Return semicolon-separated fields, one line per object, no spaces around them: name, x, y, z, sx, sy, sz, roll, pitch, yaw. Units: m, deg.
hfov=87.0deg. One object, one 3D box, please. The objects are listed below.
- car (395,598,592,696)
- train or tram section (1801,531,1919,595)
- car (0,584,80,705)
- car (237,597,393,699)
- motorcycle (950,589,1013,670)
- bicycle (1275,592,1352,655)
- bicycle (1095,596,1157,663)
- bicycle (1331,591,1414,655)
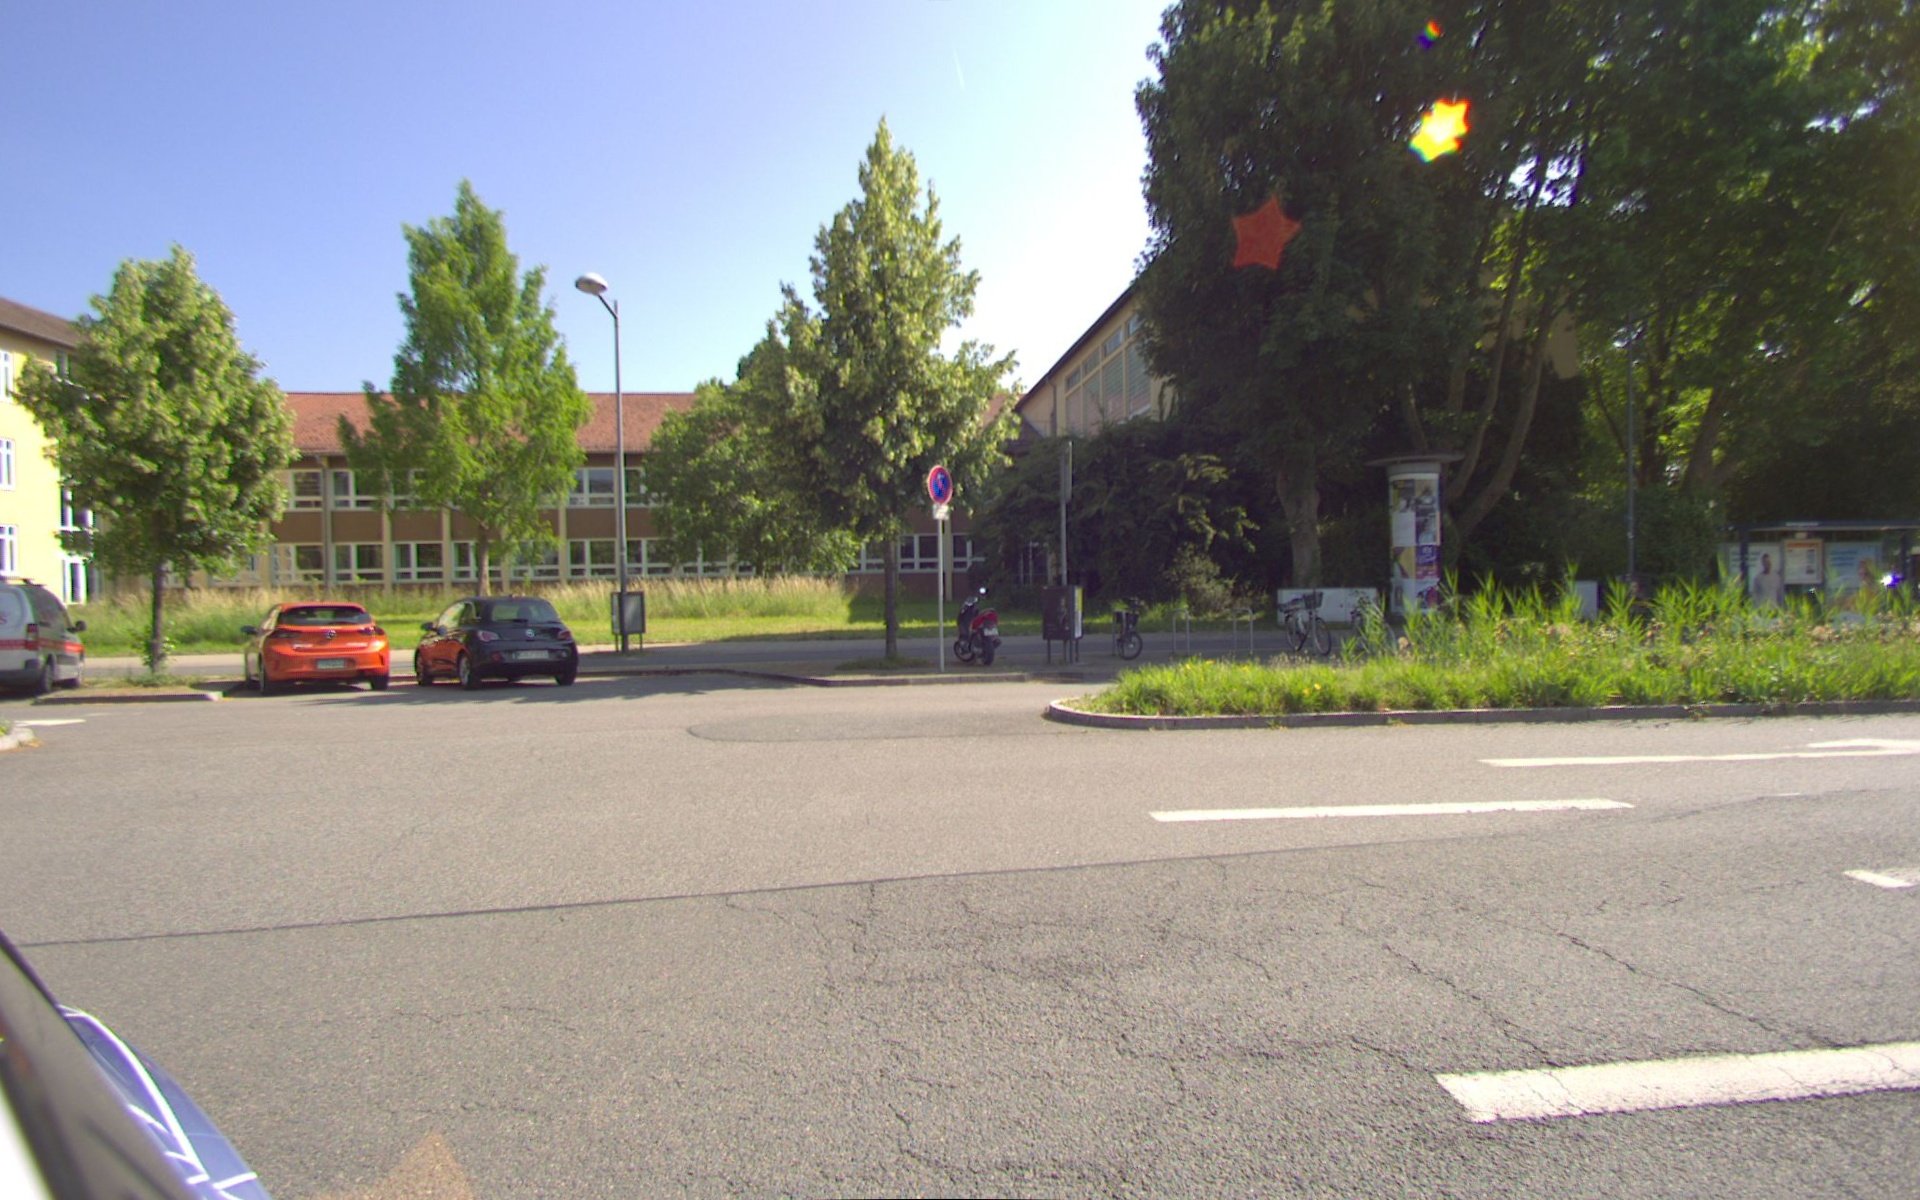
car;-7.817;0.724;16.791;1.828;1.434;3.777;0;-1;-44
train or tram section;51.900;-2.002;56.447;3.071;3.357;7.590;-1;0;-6
car;-15.550;0.668;16.205;1.789;1.785;3.784;-1;0;-35
car;-10.635;0.695;16.572;1.688;1.434;3.849;-1;1;-39
motorcycle;0.340;0.469;17.312;0.681;1.294;1.855;-1;1;-11
bicycle;6.580;0.410;18.950;0.683;1.114;1.853;-1;1;-3
bicycle;2.955;0.498;18.146;0.683;1.100;1.853;-1;1;-3
bicycle;7.657;0.399;18.869;0.683;1.130;1.853;-1;1;-3
